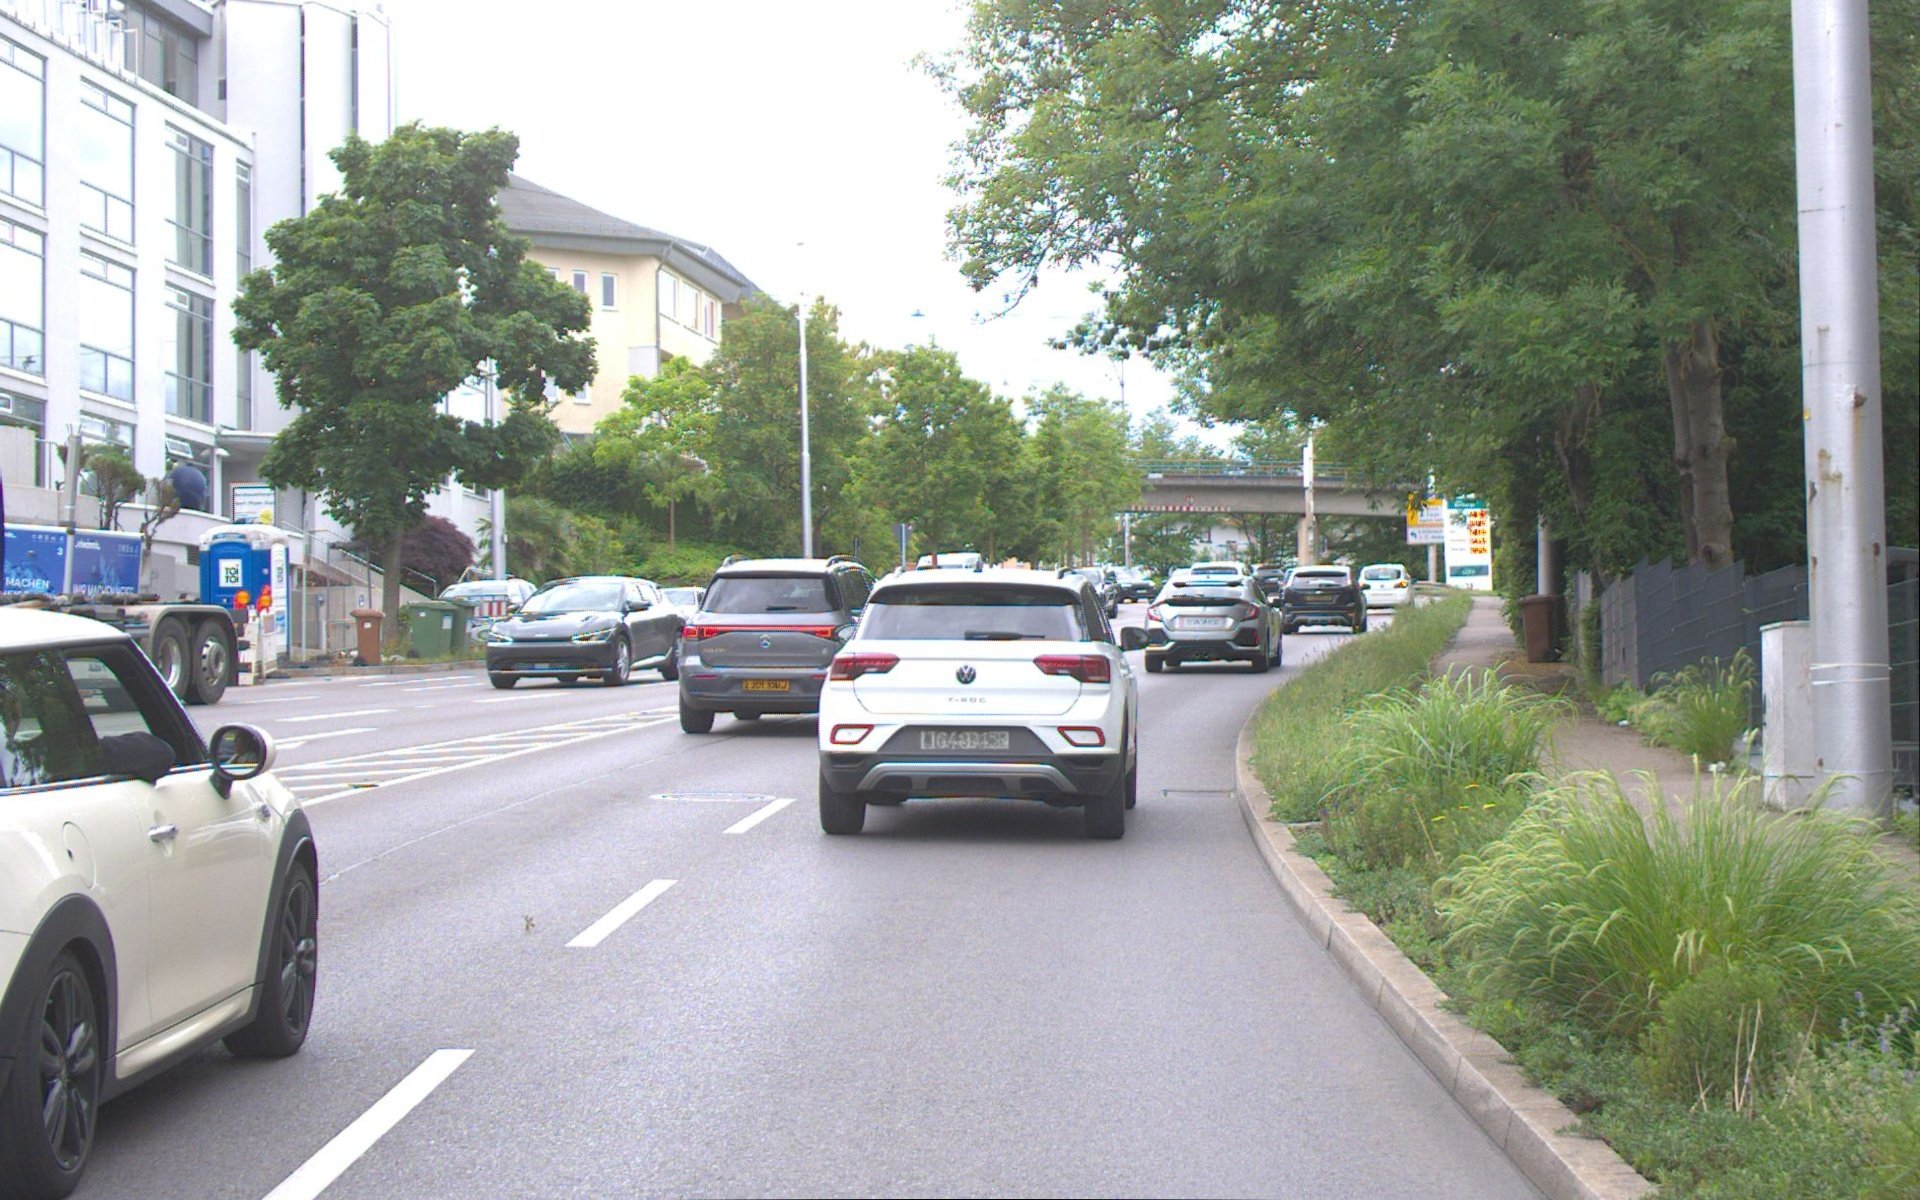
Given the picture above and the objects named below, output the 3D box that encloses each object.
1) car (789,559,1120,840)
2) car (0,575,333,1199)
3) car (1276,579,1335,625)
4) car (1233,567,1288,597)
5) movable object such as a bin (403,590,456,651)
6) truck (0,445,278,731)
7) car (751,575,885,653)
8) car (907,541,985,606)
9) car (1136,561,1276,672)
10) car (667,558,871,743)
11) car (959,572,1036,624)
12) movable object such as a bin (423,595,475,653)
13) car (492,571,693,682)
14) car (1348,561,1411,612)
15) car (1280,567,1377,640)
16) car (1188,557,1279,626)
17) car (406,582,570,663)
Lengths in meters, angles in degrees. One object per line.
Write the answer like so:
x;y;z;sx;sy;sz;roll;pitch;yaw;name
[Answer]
0.020;0.535;20.920;1.811;1.534;3.689;-1;1;2;car
-2.888;0.646;9.317;1.628;1.388;3.566;-1;1;1;car
11.871;0.042;117.937;1.858;1.495;4.054;-1;1;8;car
15.379;-0.924;176.279;1.857;1.495;4.056;-1;1;-9;car
-8.979;0.340;58.202;0.645;1.012;0.659;0;1;18;movable object such as a bin
-10.830;-0.165;38.696;2.962;2.961;8.974;1;1;11;truck
-2.605;0.246;64.093;1.843;1.388;4.283;0;0;7;car
-0.487;-0.974;126.052;2.069;2.298;5.463;0;0;8;car
3.708;0.243;51.257;1.873;1.496;4.554;3;0;6;car
-1.803;0.435;33.403;1.812;1.646;4.636;-1;1;-2;car
1.262;-0.073;112.817;2.069;1.651;4.692;0;0;6;car
-8.746;0.405;58.832;0.645;0.986;0.659;0;1;18;movable object such as a bin
-5.211;0.343;49.265;1.696;1.491;4.484;1;1;10;car
12.690;-0.425;104.018;1.858;1.495;4.054;-1;1;7;car
8.255;0.093;76.713;1.874;1.496;4.553;3;0;9;car
6.823;-0.227;85.355;1.859;1.646;4.634;-1;1;9;car
-9.092;0.413;66.589;1.772;1.493;4.302;0;0;12;car
